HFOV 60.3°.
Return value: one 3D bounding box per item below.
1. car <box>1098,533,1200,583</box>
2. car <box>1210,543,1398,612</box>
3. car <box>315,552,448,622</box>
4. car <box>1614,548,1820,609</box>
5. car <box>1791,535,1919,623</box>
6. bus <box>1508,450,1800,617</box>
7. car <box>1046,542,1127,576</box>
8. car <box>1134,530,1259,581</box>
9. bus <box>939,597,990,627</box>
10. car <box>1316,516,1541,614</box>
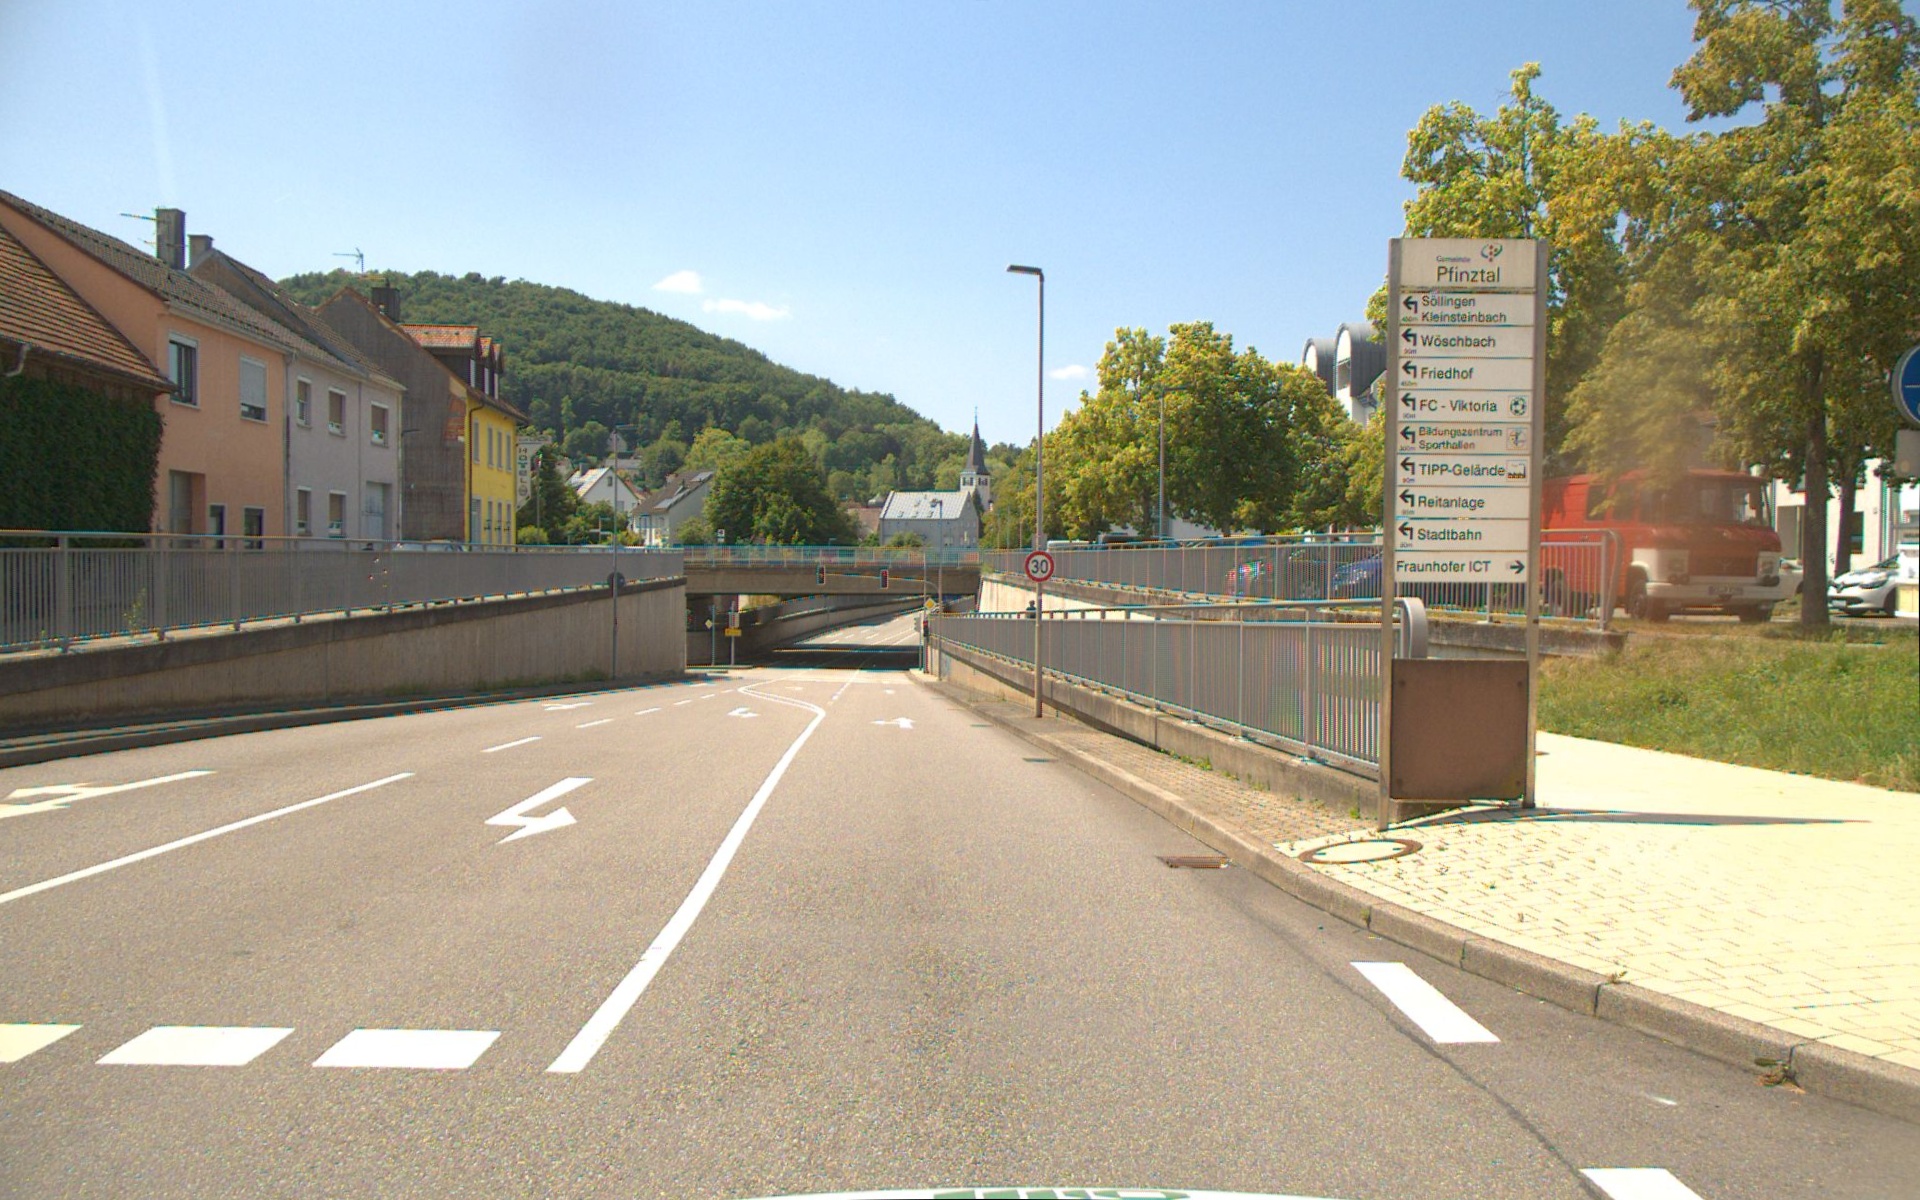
[{"bbox_3d":[7.623,-1.693,67.044,3.905,1.801,1.769,2,-2,0],"label":"car"},{"bbox_3d":[7.808,-0.510,37.733,3.906,1.453,1.724,1,0,-1],"label":"car"},{"bbox_3d":[-12.955,-0.280,37.286,1.750,1.430,4.388,1,0,-5],"label":"car"},{"bbox_3d":[19.369,-0.566,42.455,4.395,1.505,1.999,0,1,-3],"label":"car"},{"bbox_3d":[19.934,-0.398,34.901,3.909,1.658,1.861,2,-2,-5],"label":"car"},{"bbox_3d":[10.957,-1.049,26.660,2.145,2.407,5.360,-1,2,-4],"label":"bus"},{"bbox_3d":[6.276,-2.028,82.351,3.905,1.512,1.769,2,-2,0],"label":"car"},{"bbox_3d":[7.864,-1.472,55.256,3.905,1.512,1.769,2,-2,0],"label":"car"},{"bbox_3d":[0.582,1.367,188.962,2.526,3.228,12.384,1,0,16],"label":"bus"},{"bbox_3d":[9.337,-0.663,33.078,3.917,1.658,1.857,3,-2,-13],"label":"car"}]
